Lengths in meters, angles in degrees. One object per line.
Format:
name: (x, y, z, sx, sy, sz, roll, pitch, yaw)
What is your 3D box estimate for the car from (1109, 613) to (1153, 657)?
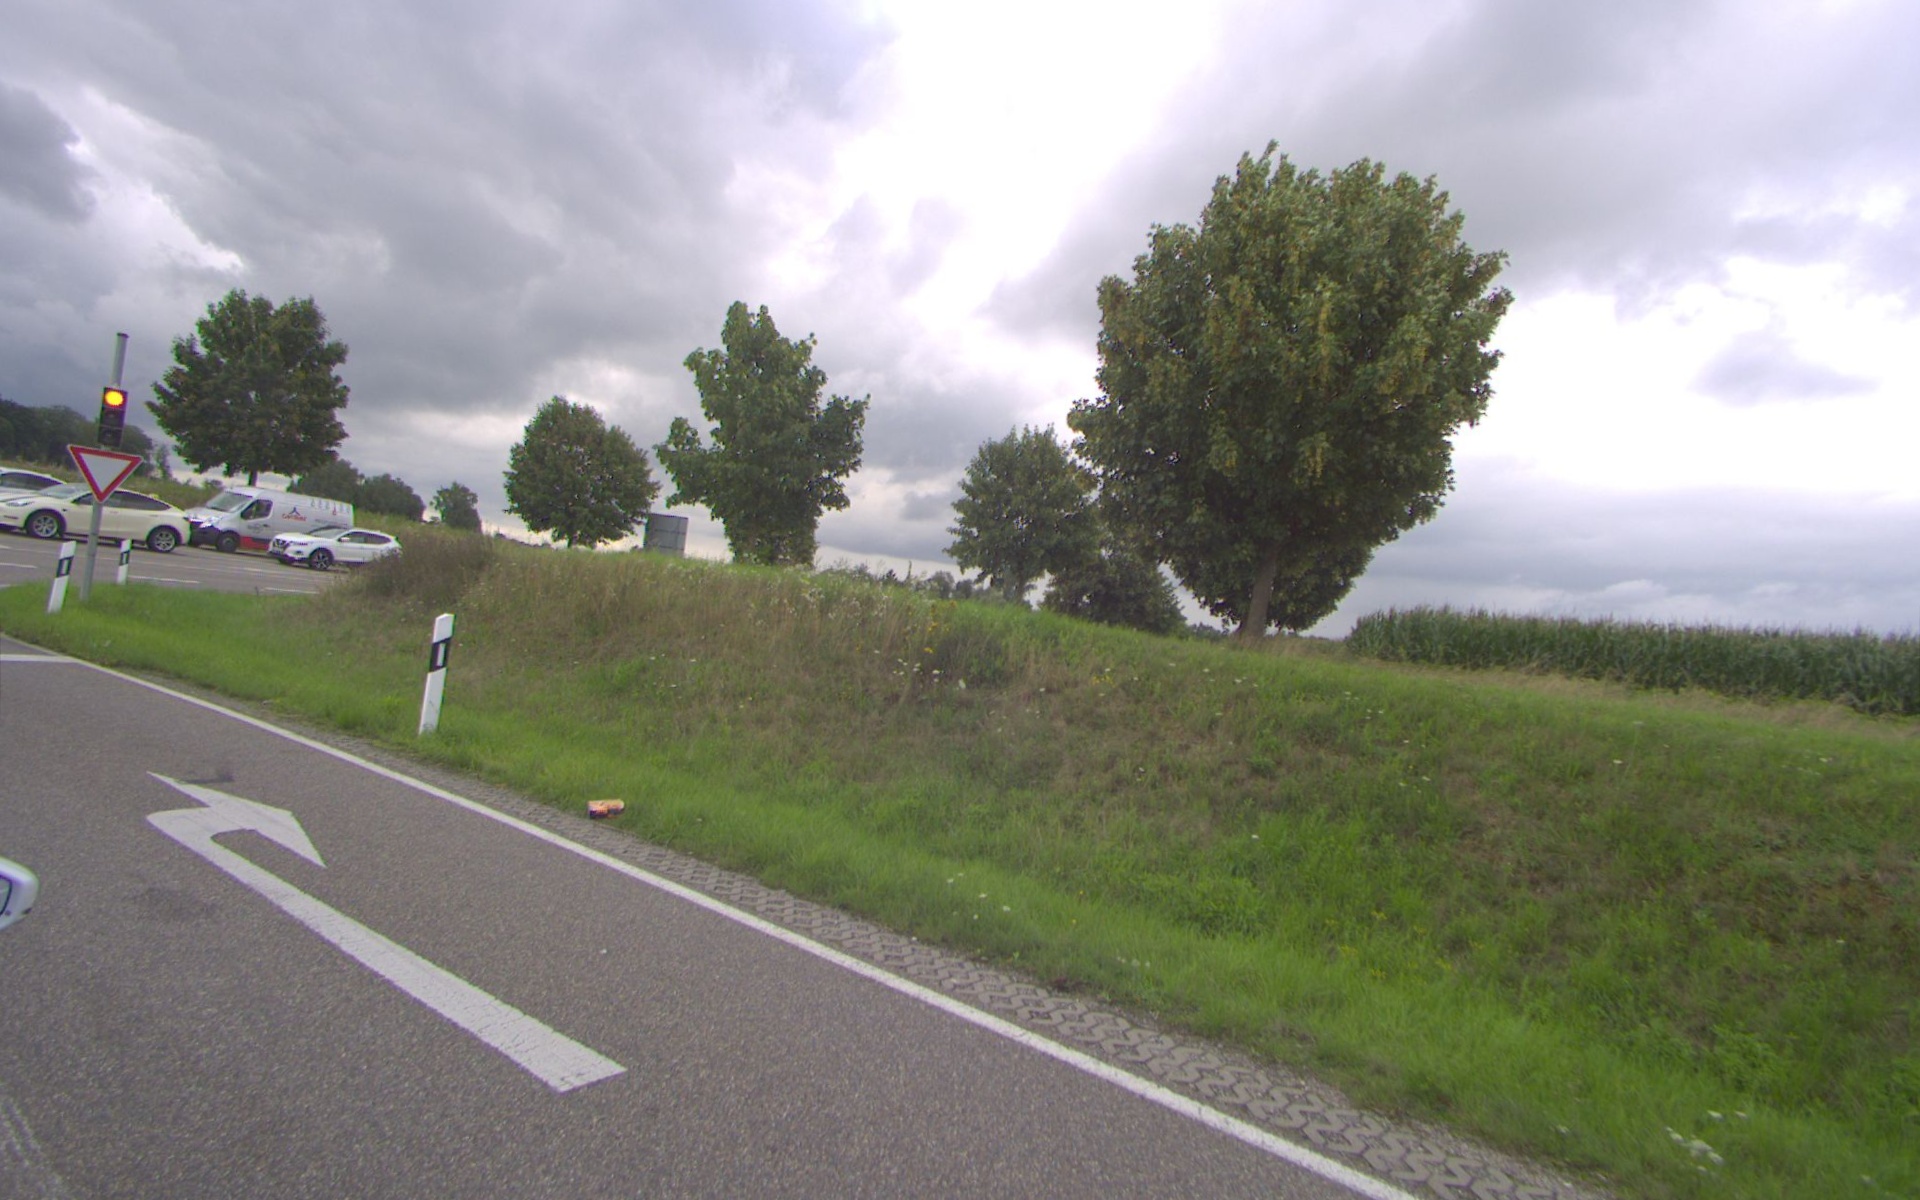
car: (9.323, 1.953, 54.514, 1.962, 2.037, 4.005, 7, -2, 12)

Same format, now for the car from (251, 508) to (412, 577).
car: (-21.787, -1.932, 35.089, 1.963, 1.648, 4.326, 8, -2, 20)

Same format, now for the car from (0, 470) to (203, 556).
car: (-24.136, -2.401, 27.786, 1.963, 1.582, 4.752, 8, -2, 20)

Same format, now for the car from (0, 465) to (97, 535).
car: (-27.829, -3.055, 28.739, 1.963, 1.647, 4.278, 8, -2, 19)

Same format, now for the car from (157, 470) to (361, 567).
car: (-25.347, -2.861, 36.694, 2.354, 2.470, 5.517, 8, -2, 20)
